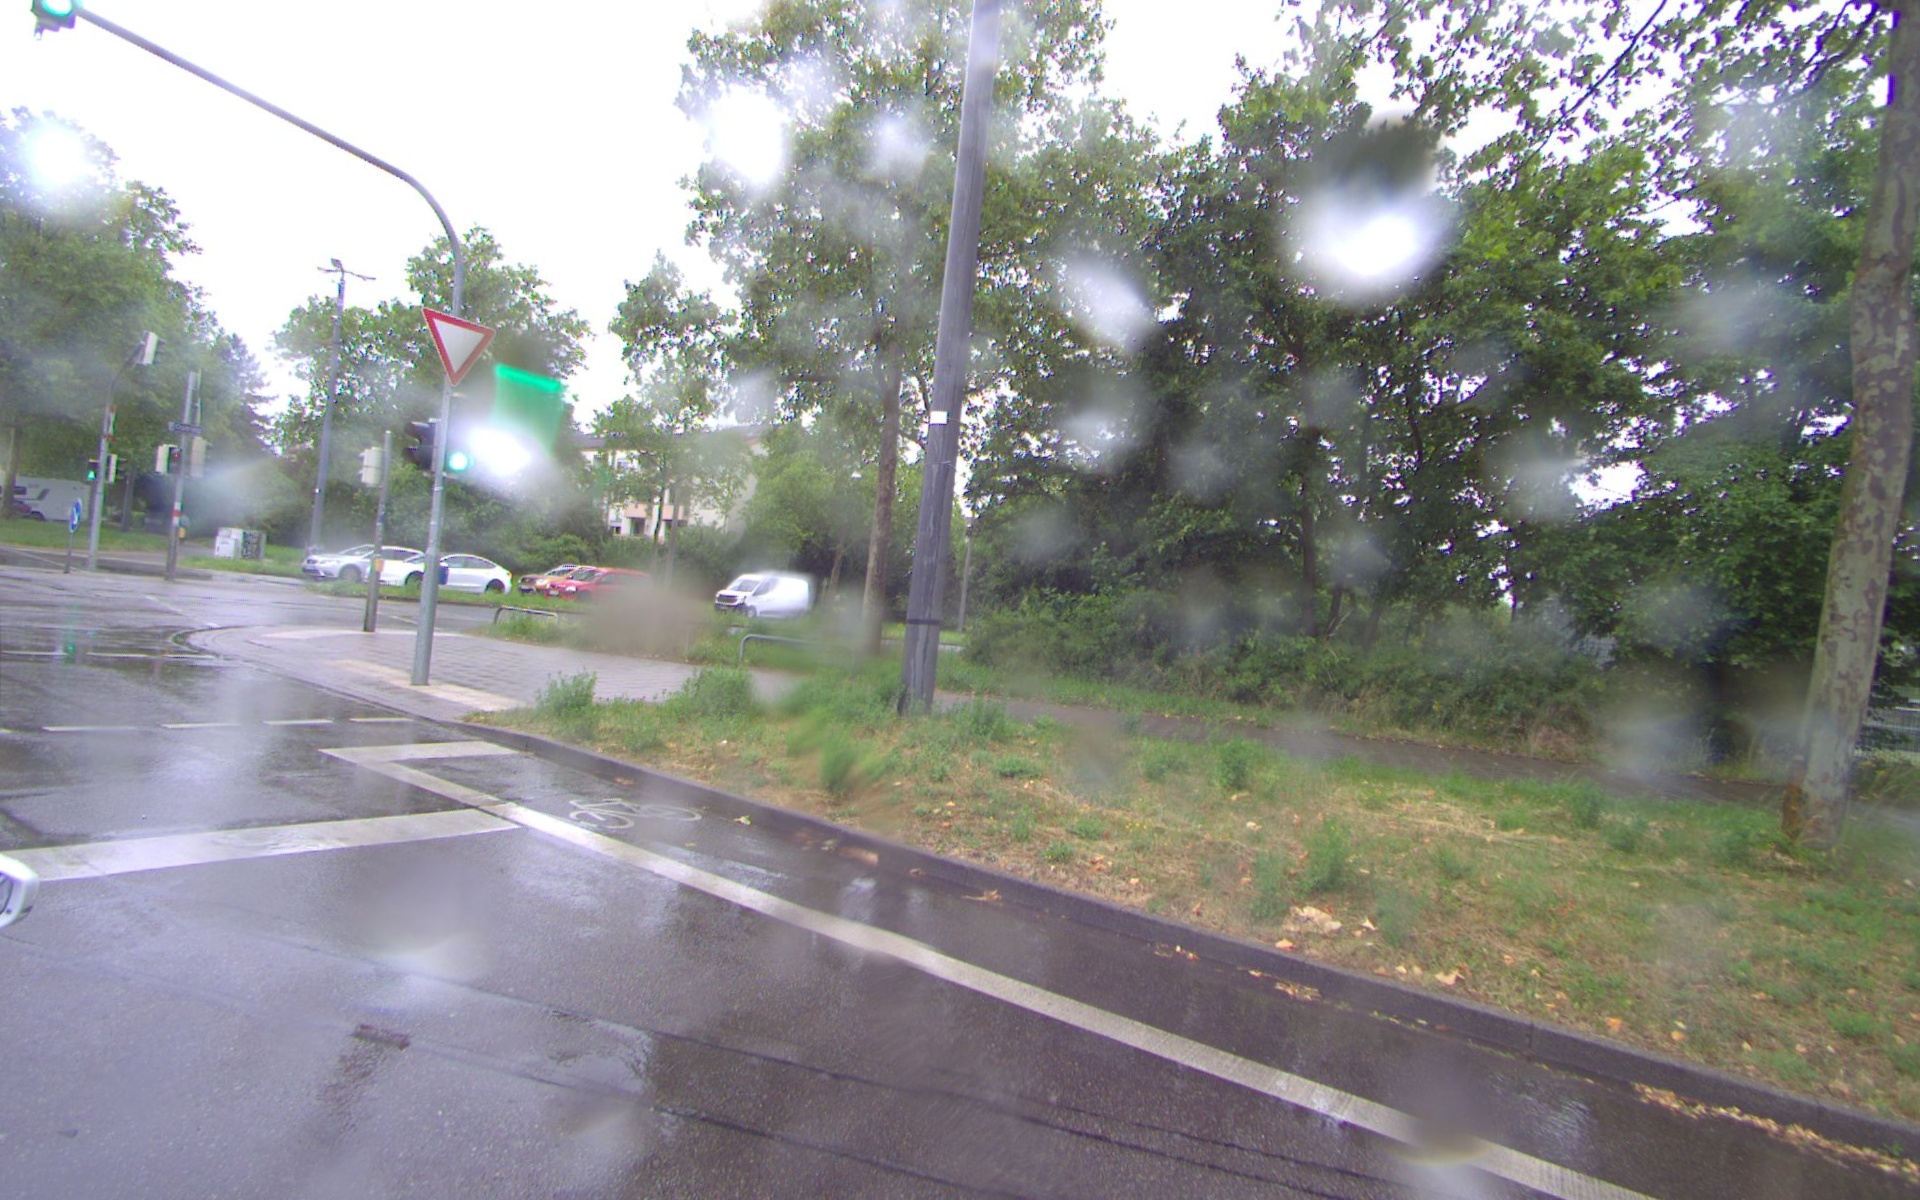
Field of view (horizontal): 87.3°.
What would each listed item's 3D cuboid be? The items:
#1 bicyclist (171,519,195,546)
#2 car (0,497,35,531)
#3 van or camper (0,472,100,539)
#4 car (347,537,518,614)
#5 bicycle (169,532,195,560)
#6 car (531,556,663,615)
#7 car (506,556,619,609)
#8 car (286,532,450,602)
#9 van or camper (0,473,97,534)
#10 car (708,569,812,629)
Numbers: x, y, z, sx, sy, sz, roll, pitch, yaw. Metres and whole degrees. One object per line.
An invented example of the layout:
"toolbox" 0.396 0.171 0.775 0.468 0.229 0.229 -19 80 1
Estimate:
"bicyclist" -44.954 -3.901 58.193 0.858 1.441 0.945 8 -2 -42
"car" -55.801 -5.142 57.157 4.424 1.736 1.980 9 -2 -37
"van or camper" -56.925 -5.907 60.725 7.296 3.215 3.226 9 -2 -40
"car" -17.156 -0.743 32.987 1.900 1.849 4.608 7 -2 26
"bicycle" -44.770 -3.142 57.877 0.858 1.441 2.672 8 -2 -42
"car" -13.839 -0.509 38.633 1.760 1.625 4.615 6 -2 29
"car" -16.316 -0.683 41.467 1.759 1.625 4.069 7 -2 26
"car" -20.109 -1.058 34.396 1.900 1.710 4.407 7 -2 26
"van or camper" -63.171 -6.667 67.576 7.388 3.215 3.231 9 -2 -36
"car" -10.344 0.001 52.536 1.966 2.419 5.619 6 -2 29
